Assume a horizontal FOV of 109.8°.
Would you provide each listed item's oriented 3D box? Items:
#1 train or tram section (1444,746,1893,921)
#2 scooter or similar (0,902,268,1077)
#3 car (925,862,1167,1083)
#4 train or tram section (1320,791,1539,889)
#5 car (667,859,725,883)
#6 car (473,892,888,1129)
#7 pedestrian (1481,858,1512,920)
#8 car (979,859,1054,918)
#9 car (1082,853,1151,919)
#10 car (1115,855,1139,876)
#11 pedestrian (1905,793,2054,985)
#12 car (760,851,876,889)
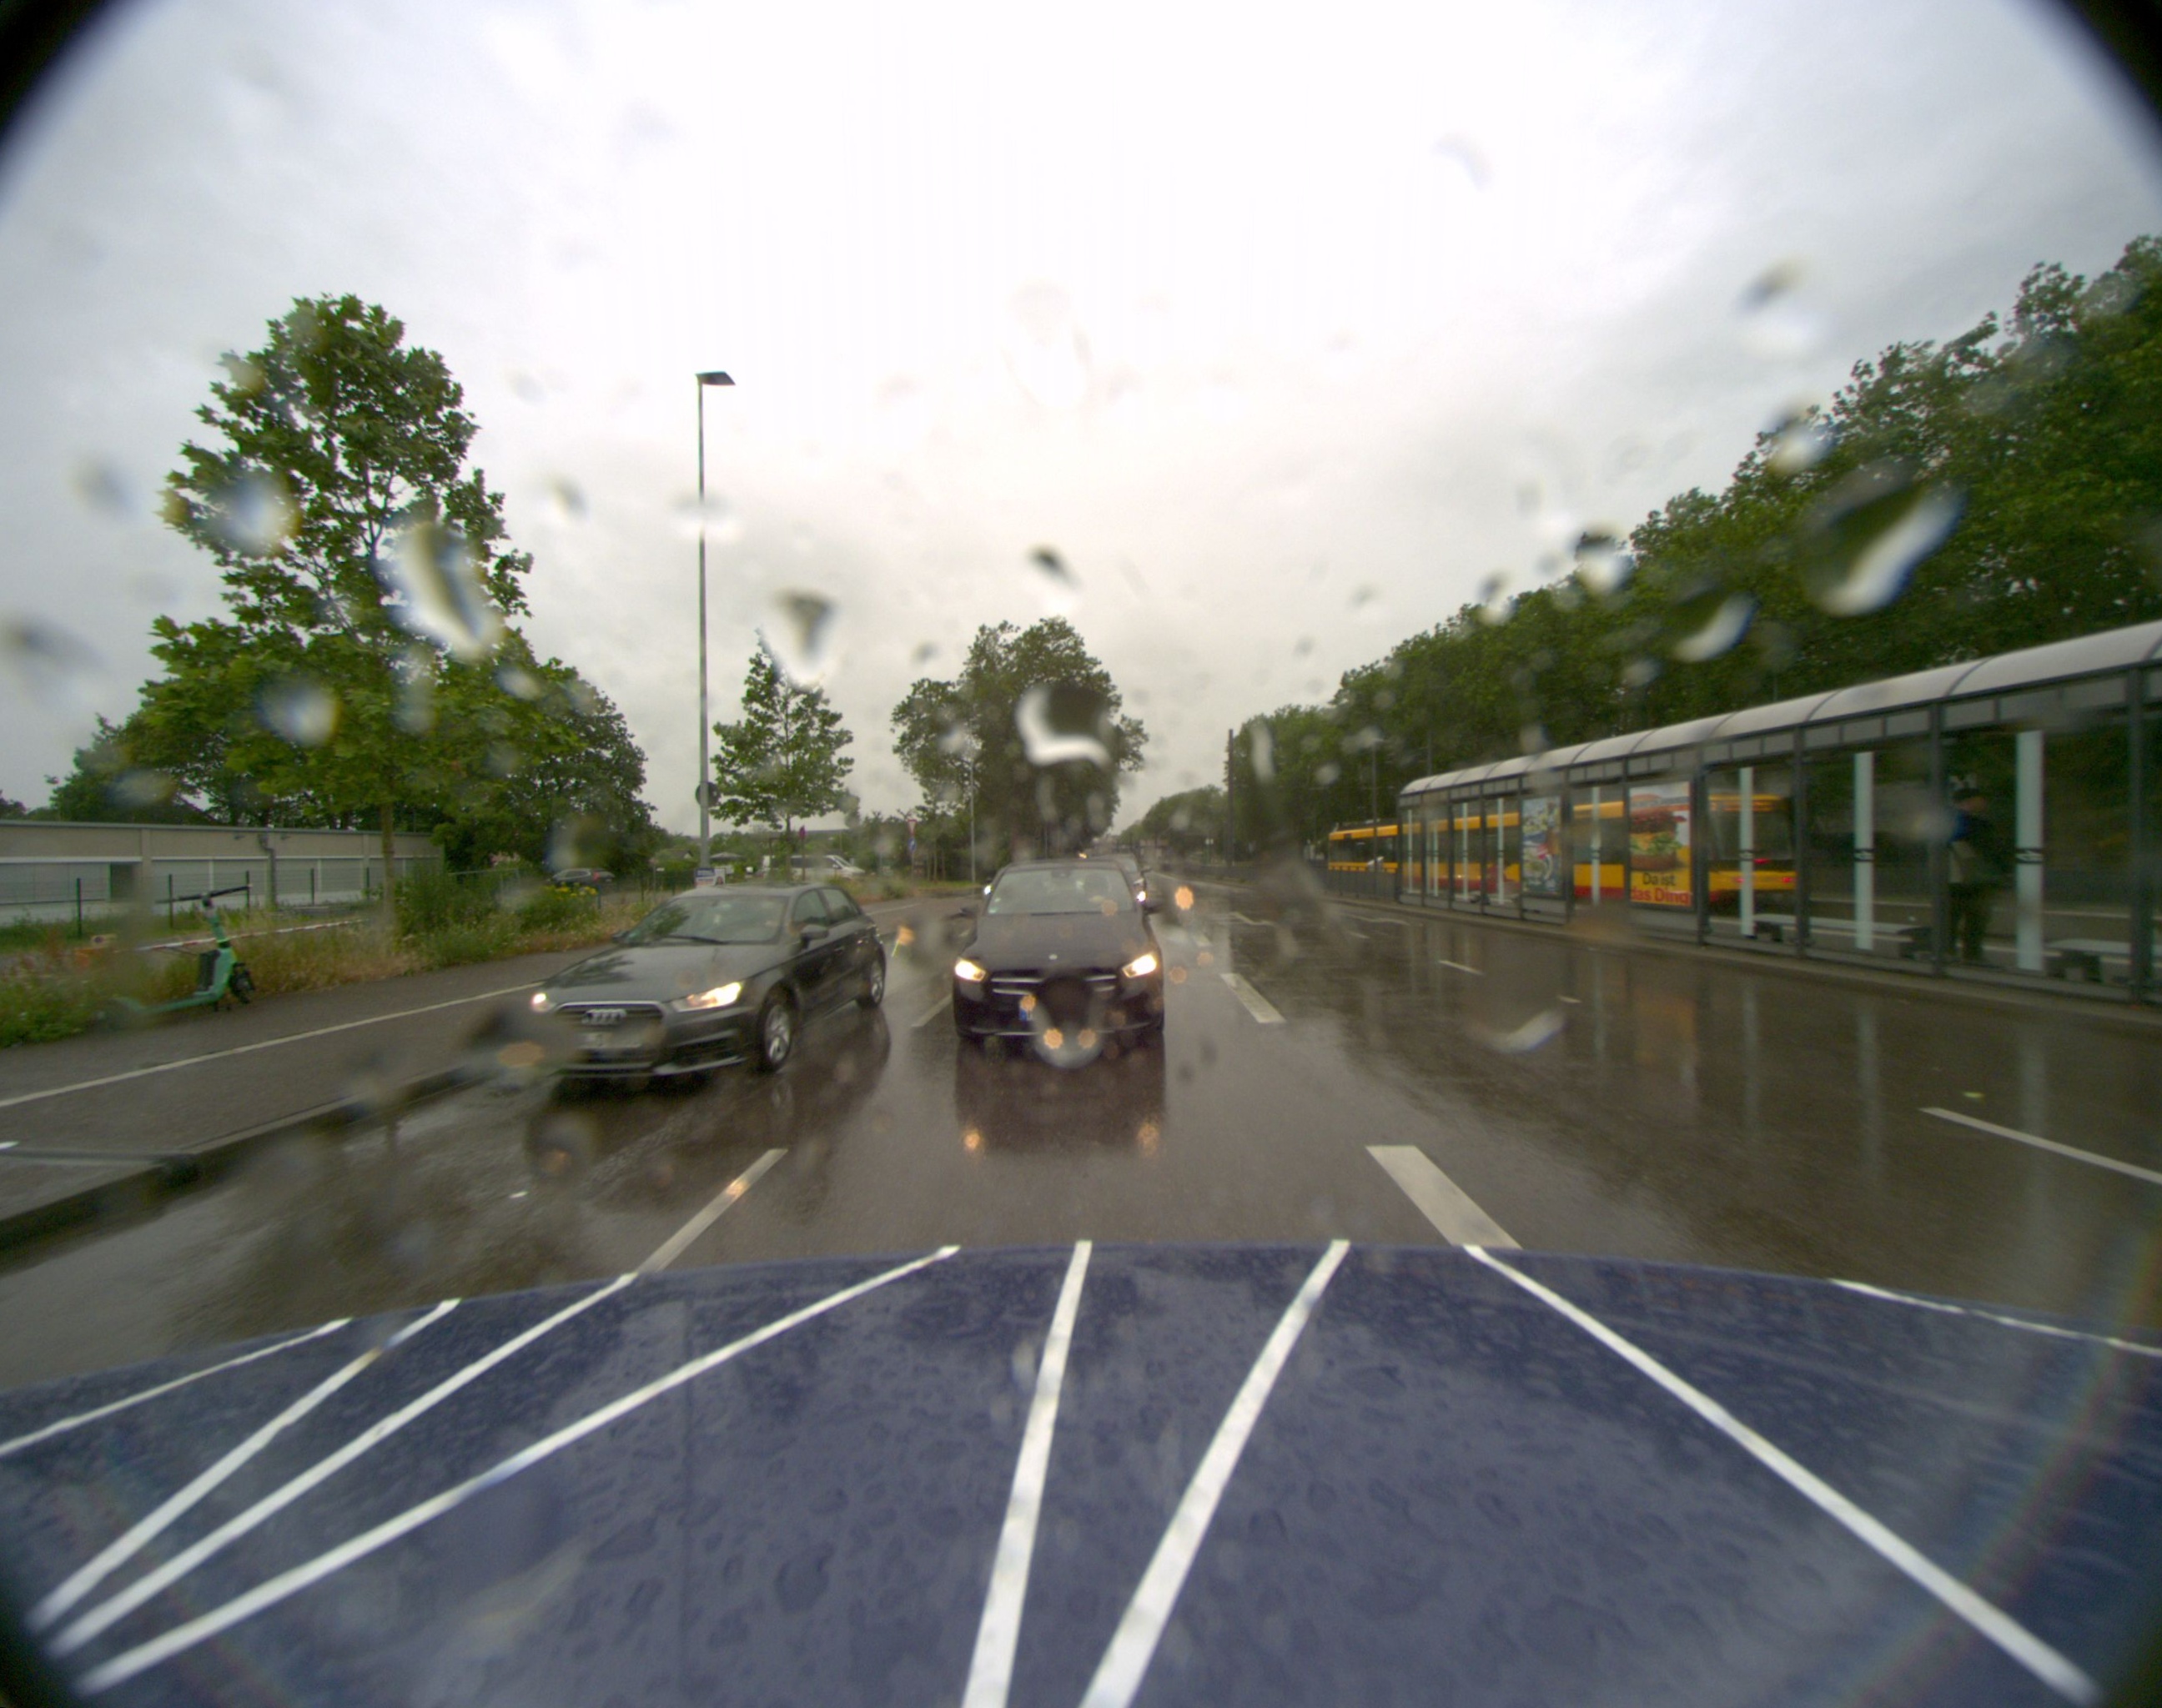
[{"bbox_3d":[16.498,-0.529,23.844,3.751,3.817,13.252,-2,1,0],"label":"train or tram section"},{"bbox_3d":[-8.315,1.082,6.568,0.367,1.192,1.913,-2,1,4],"label":"scooter or similar"},{"bbox_3d":[-0.080,0.912,7.704,1.758,1.572,4.171,-2,0,5],"label":"car"},{"bbox_3d":[16.447,-0.661,38.270,3.751,3.777,15.569,-2,1,0],"label":"train or tram section"},{"bbox_3d":[-28.390,1.263,56.089,3.552,1.575,1.345,-2,1,6],"label":"car"},{"bbox_3d":[-3.040,1.093,6.692,1.601,1.358,3.632,0,0,3],"label":"car"},{"bbox_3d":[8.589,0.720,15.709,0.458,1.229,0.467,-1,2,15],"label":"pedestrian"},{"bbox_3d":[-1.869,0.974,23.099,1.706,1.499,3.879,-2,1,2],"label":"car"},{"bbox_3d":[0.922,0.790,20.693,1.689,1.611,4.000,0,0,2],"label":"car"},{"bbox_3d":[4.201,1.046,70.609,1.935,1.765,4.663,-2,1,1],"label":"car"},{"bbox_3d":[9.160,0.343,7.784,0.655,1.860,0.773,-2,1,17],"label":"pedestrian"},{"bbox_3d":[-13.478,0.796,39.133,5.174,1.715,2.006,-2,1,-1],"label":"car"}]
